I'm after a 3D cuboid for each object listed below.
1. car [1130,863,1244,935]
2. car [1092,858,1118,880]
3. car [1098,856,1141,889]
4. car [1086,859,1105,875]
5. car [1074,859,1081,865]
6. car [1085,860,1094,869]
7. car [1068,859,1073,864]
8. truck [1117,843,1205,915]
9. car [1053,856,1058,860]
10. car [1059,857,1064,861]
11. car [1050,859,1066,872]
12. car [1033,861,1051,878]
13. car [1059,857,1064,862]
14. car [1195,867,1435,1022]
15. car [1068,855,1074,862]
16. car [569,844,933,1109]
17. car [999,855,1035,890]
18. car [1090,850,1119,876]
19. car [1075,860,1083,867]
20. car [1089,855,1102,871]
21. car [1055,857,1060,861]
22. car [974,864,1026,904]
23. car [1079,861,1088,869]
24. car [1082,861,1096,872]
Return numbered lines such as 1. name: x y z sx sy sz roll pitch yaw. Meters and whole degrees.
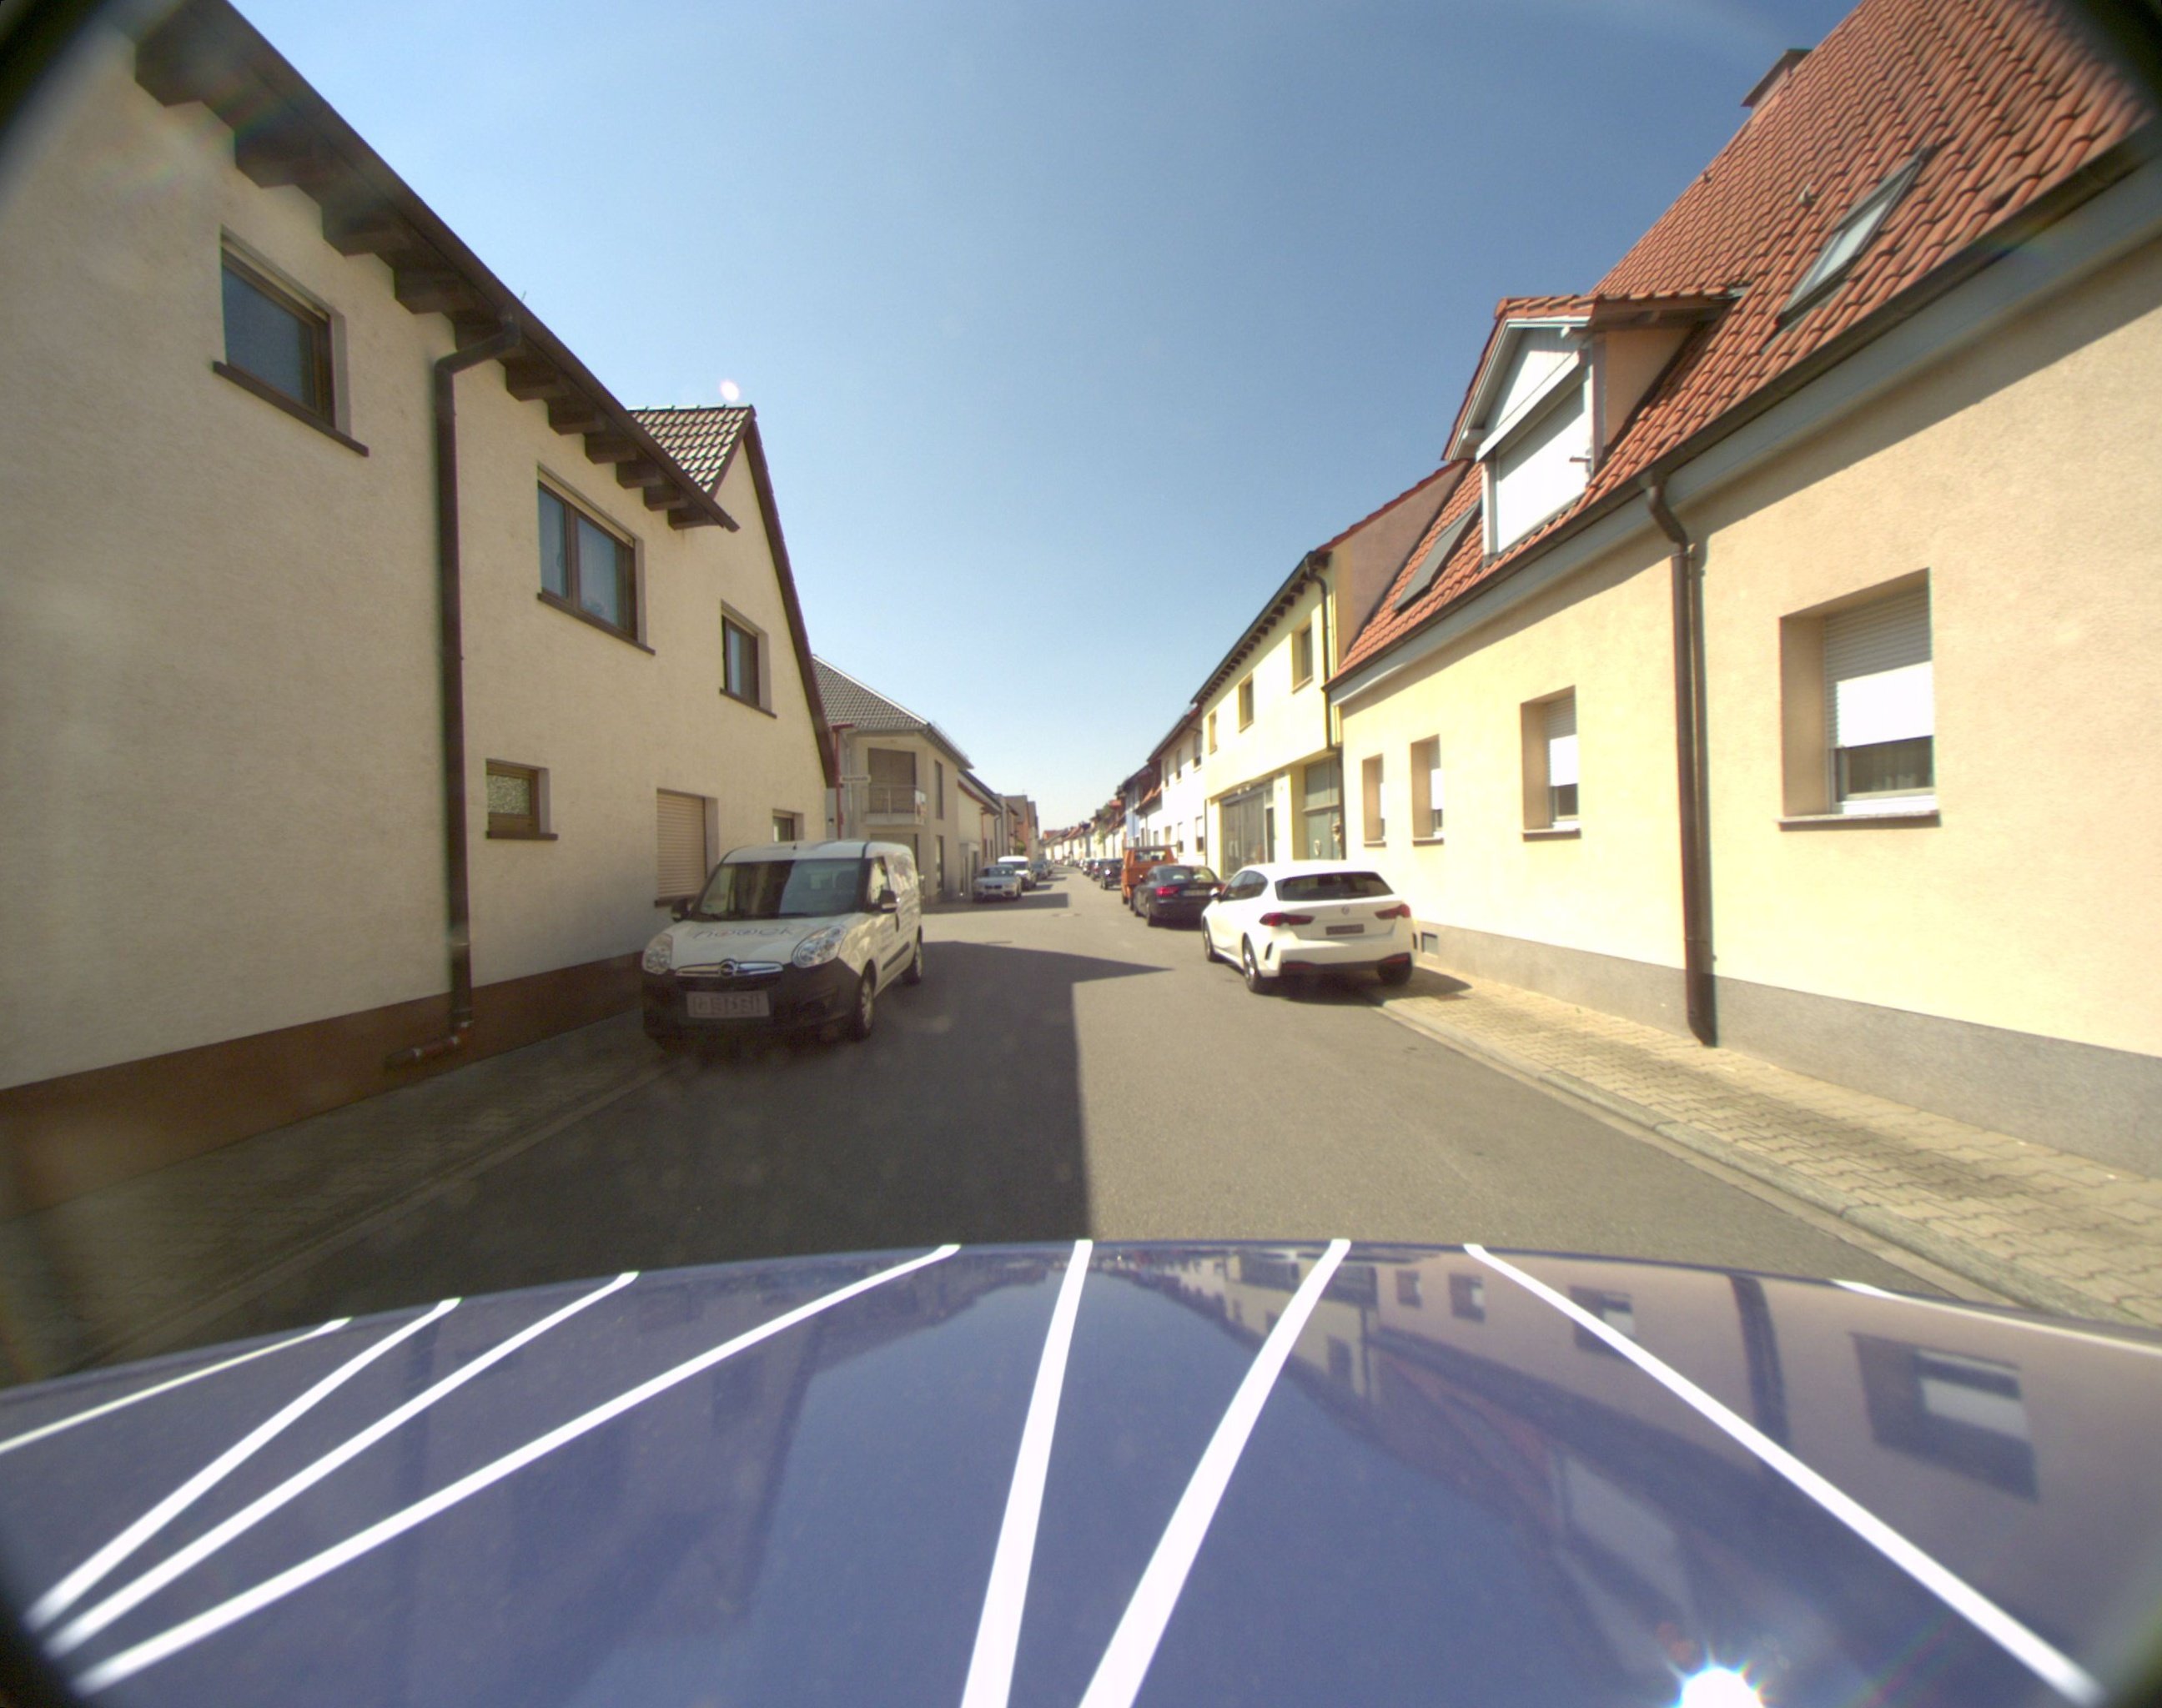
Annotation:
1. car: 2.389 0.974 18.332 1.927 1.386 4.630 2 0 -2
2. car: 1.744 1.075 56.401 1.724 1.493 4.214 -1 0 -1
3. car: 1.944 0.908 39.097 1.849 1.604 3.999 -1 0 -2
4. car: 1.378 1.235 73.564 1.677 1.565 4.108 -1 0 -1
5. car: -0.747 1.618 158.768 1.295 1.177 2.963 -1 0 -1
6. car: 1.195 1.524 109.498 1.295 1.177 2.963 -1 0 -1
7. car: -2.399 1.664 175.476 1.295 1.177 2.963 -1 0 -1
8. truck: 2.365 0.685 23.916 2.188 2.002 5.079 -1 0 0
9. car: -7.990 1.314 235.153 1.296 1.177 2.961 -1 0 -8
10. car: -5.601 1.451 215.185 1.295 1.177 2.963 -1 0 -1
11. car: -2.816 1.392 91.265 1.849 1.523 3.548 -1 0 -2
12. car: -3.404 1.317 66.983 1.522 1.417 3.863 -1 0 -2
13. car: -5.209 1.501 206.718 1.295 1.177 2.963 -1 0 -1
14. car: 2.690 0.949 9.809 1.787 1.445 4.215 -1 0 0
15. car: -2.519 1.154 184.987 1.295 1.683 2.963 -1 0 -2
16. car: -2.847 0.869 7.933 1.815 1.814 4.848 -3 1 -3
17. car: -3.310 0.938 40.008 1.684 1.719 3.786 -1 0 -2
18. car: 1.959 0.717 64.551 1.999 2.002 3.997 -1 1 -5
19. car: -0.358 1.704 136.054 1.295 1.177 2.963 -1 0 -1
20. car: 1.673 1.047 87.840 1.295 1.820 2.963 -1 0 -1
21. car: -6.922 1.471 226.492 1.295 1.177 2.963 -1 0 -1
22. car: -3.202 1.164 30.576 1.638 1.360 3.927 -3 0 -1
23. car: 0.373 1.728 120.841 1.295 1.177 2.963 -1 0 -1
24. car: 0.828 1.335 80.030 1.295 1.070 2.764 -1 0 -1
